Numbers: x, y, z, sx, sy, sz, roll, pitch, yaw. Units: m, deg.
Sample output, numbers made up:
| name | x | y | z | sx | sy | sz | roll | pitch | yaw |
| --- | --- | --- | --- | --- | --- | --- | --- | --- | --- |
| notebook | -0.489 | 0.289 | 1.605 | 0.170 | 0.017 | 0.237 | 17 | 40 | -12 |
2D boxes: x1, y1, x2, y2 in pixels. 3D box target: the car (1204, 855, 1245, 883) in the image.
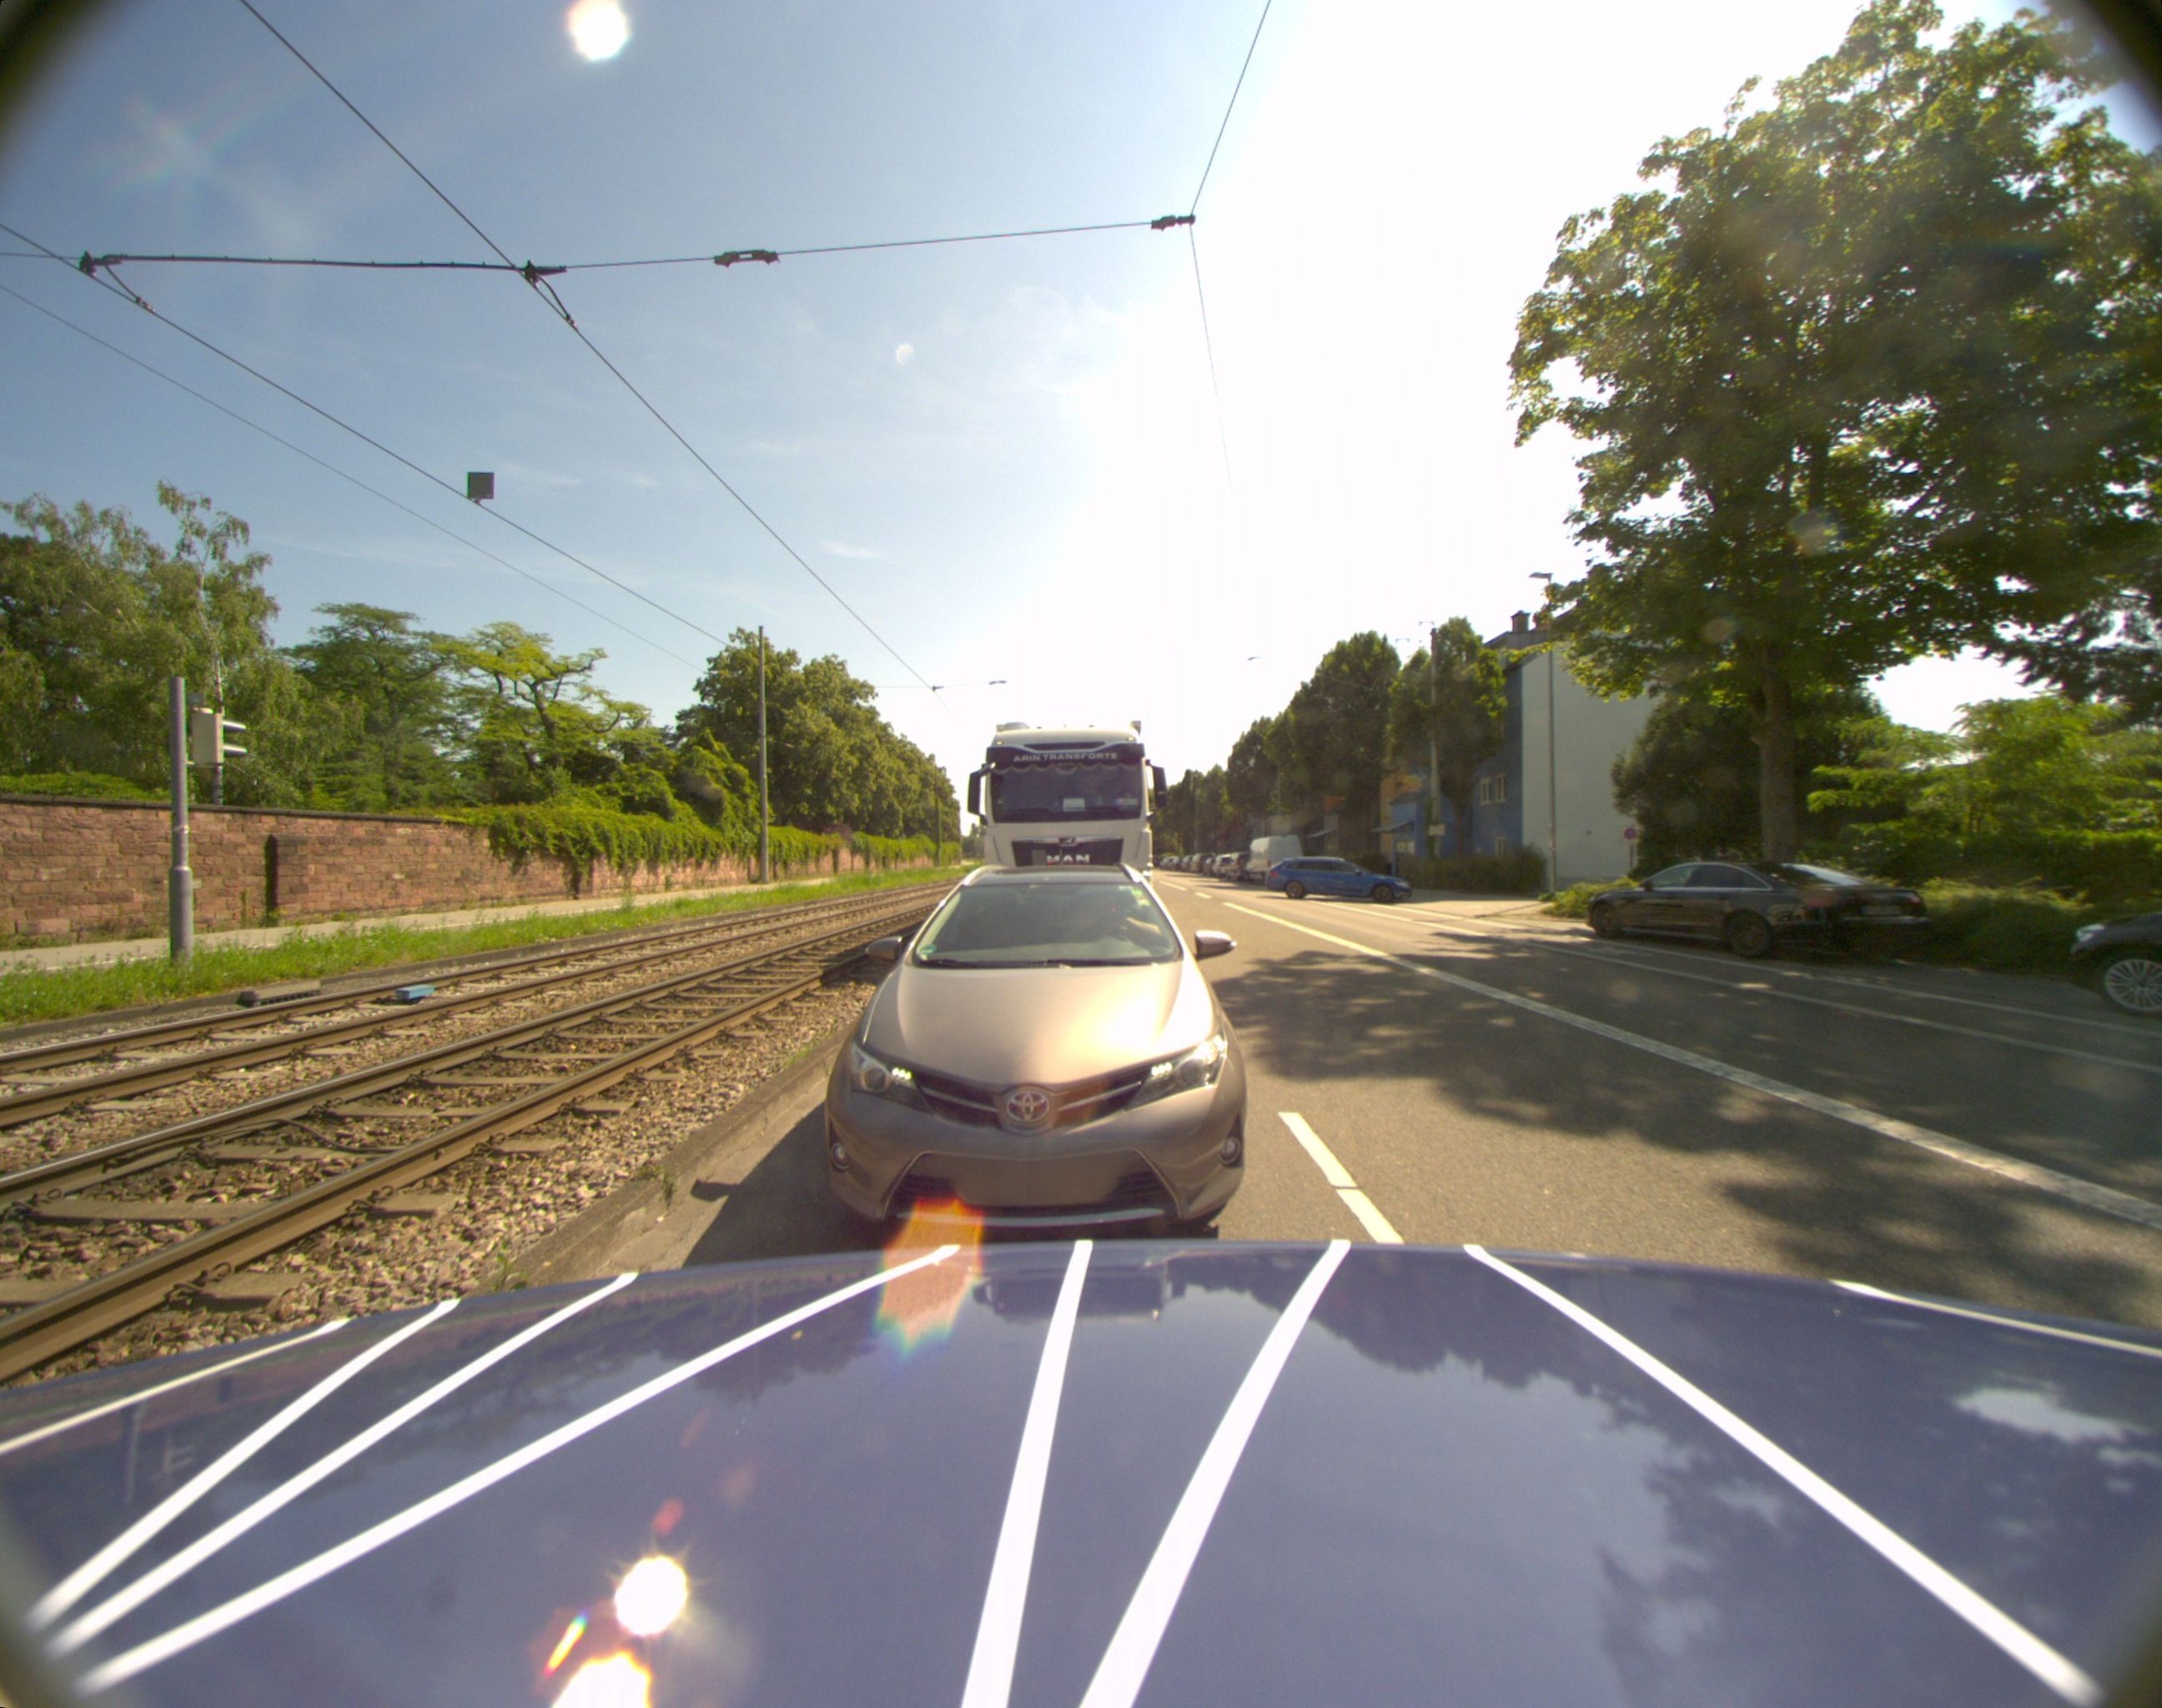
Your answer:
| name | x | y | z | sx | sy | sz | roll | pitch | yaw |
| --- | --- | --- | --- | --- | --- | --- | --- | --- | --- |
| car | 10.774 | 1.101 | 57.309 | 1.999 | 1.795 | 4.770 | -6 | 0 | 0 |

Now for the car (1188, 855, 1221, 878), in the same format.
| name | x | y | z | sx | sy | sz | roll | pitch | yaw |
| --- | --- | --- | --- | --- | --- | --- | --- | --- | --- |
| car | 10.917 | 1.084 | 67.605 | 1.999 | 1.795 | 4.770 | -6 | 0 | 0 |

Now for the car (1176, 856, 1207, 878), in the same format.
| name | x | y | z | sx | sy | sz | roll | pitch | yaw |
| --- | --- | --- | --- | --- | --- | --- | --- | --- | --- |
| car | 10.616 | 1.220 | 73.307 | 1.999 | 1.795 | 4.770 | -6 | 0 | 0 |

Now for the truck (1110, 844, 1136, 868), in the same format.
| name | x | y | z | sx | sy | sz | roll | pitch | yaw |
| --- | --- | --- | --- | --- | --- | --- | --- | --- | --- |
| truck | 6.316 | 0.356 | 116.022 | 2.704 | 3.262 | 6.724 | -6 | 0 | -5 |

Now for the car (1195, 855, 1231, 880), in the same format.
| name | x | y | z | sx | sy | sz | roll | pitch | yaw |
| --- | --- | --- | --- | --- | --- | --- | --- | --- | --- |
| car | 10.880 | 1.094 | 62.793 | 1.999 | 1.795 | 4.257 | -6 | 0 | 0 |

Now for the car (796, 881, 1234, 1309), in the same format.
| name | x | y | z | sx | sy | sz | roll | pitch | yaw |
| --- | --- | --- | --- | --- | --- | --- | --- | --- | --- |
| car | -0.224 | 0.937 | 4.730 | 1.573 | 1.422 | 4.000 | 0 | 0 | 0 |

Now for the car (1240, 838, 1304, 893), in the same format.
| name | x | y | z | sx | sy | sz | roll | pitch | yaw |
| --- | --- | --- | --- | --- | --- | --- | --- | --- | --- |
| car | 10.725 | 0.619 | 43.201 | 1.998 | 2.677 | 6.215 | -6 | 0 | 2 |

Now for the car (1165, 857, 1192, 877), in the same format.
| name | x | y | z | sx | sy | sz | roll | pitch | yaw |
| --- | --- | --- | --- | --- | --- | --- | --- | --- | --- |
| car | 10.130 | 1.345 | 79.093 | 1.999 | 1.795 | 4.770 | -6 | 0 | 0 |

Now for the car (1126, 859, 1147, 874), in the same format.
| name | x | y | z | sx | sy | sz | roll | pitch | yaw |
| --- | --- | --- | --- | --- | --- | --- | --- | --- | --- |
| car | 7.674 | 1.736 | 105.479 | 1.999 | 1.795 | 5.111 | -6 | 0 | -5 |

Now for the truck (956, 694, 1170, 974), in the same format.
| name | x | y | z | sx | sy | sz | roll | pitch | yaw |
| --- | --- | --- | --- | --- | --- | --- | --- | --- | --- |
| truck | -0.200 | -0.229 | 17.915 | 2.935 | 3.856 | 14.913 | 0 | 0 | 0 |

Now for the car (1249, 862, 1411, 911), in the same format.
| name | x | y | z | sx | sy | sz | roll | pitch | yaw |
| --- | --- | --- | --- | --- | --- | --- | --- | --- | --- |
| car | 8.611 | 1.075 | 26.374 | 5.061 | 1.422 | 1.894 | 1 | 0 | 27 |

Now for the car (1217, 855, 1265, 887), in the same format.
| name | x | y | z | sx | sy | sz | roll | pitch | yaw |
| --- | --- | --- | --- | --- | --- | --- | --- | --- | --- |
| car | 10.739 | 1.120 | 51.278 | 1.999 | 1.795 | 4.770 | -6 | 0 | 0 |

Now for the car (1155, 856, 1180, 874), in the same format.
| name | x | y | z | sx | sy | sz | roll | pitch | yaw |
| --- | --- | --- | --- | --- | --- | --- | --- | --- | --- |
| car | 9.699 | 1.250 | 85.488 | 1.999 | 1.795 | 4.770 | -6 | 0 | 0 |

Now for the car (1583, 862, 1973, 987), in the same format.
| name | x | y | z | sx | sy | sz | roll | pitch | yaw |
| --- | --- | --- | --- | --- | --- | --- | --- | --- | --- |
| car | 10.503 | 0.933 | 12.082 | 1.868 | 1.562 | 4.621 | -1 | 0 | -2 |

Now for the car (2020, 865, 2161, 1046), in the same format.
| name | x | y | z | sx | sy | sz | roll | pitch | yaw |
| --- | --- | --- | --- | --- | --- | --- | --- | --- | --- |
| car | 10.598 | 0.898 | 5.494 | 1.868 | 1.562 | 4.622 | -2 | 0 | 0 |

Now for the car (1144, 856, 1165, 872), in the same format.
| name | x | y | z | sx | sy | sz | roll | pitch | yaw |
| --- | --- | --- | --- | --- | --- | --- | --- | --- | --- |
| car | 9.381 | 1.242 | 96.801 | 1.999 | 1.795 | 4.770 | -6 | 0 | 0 |
